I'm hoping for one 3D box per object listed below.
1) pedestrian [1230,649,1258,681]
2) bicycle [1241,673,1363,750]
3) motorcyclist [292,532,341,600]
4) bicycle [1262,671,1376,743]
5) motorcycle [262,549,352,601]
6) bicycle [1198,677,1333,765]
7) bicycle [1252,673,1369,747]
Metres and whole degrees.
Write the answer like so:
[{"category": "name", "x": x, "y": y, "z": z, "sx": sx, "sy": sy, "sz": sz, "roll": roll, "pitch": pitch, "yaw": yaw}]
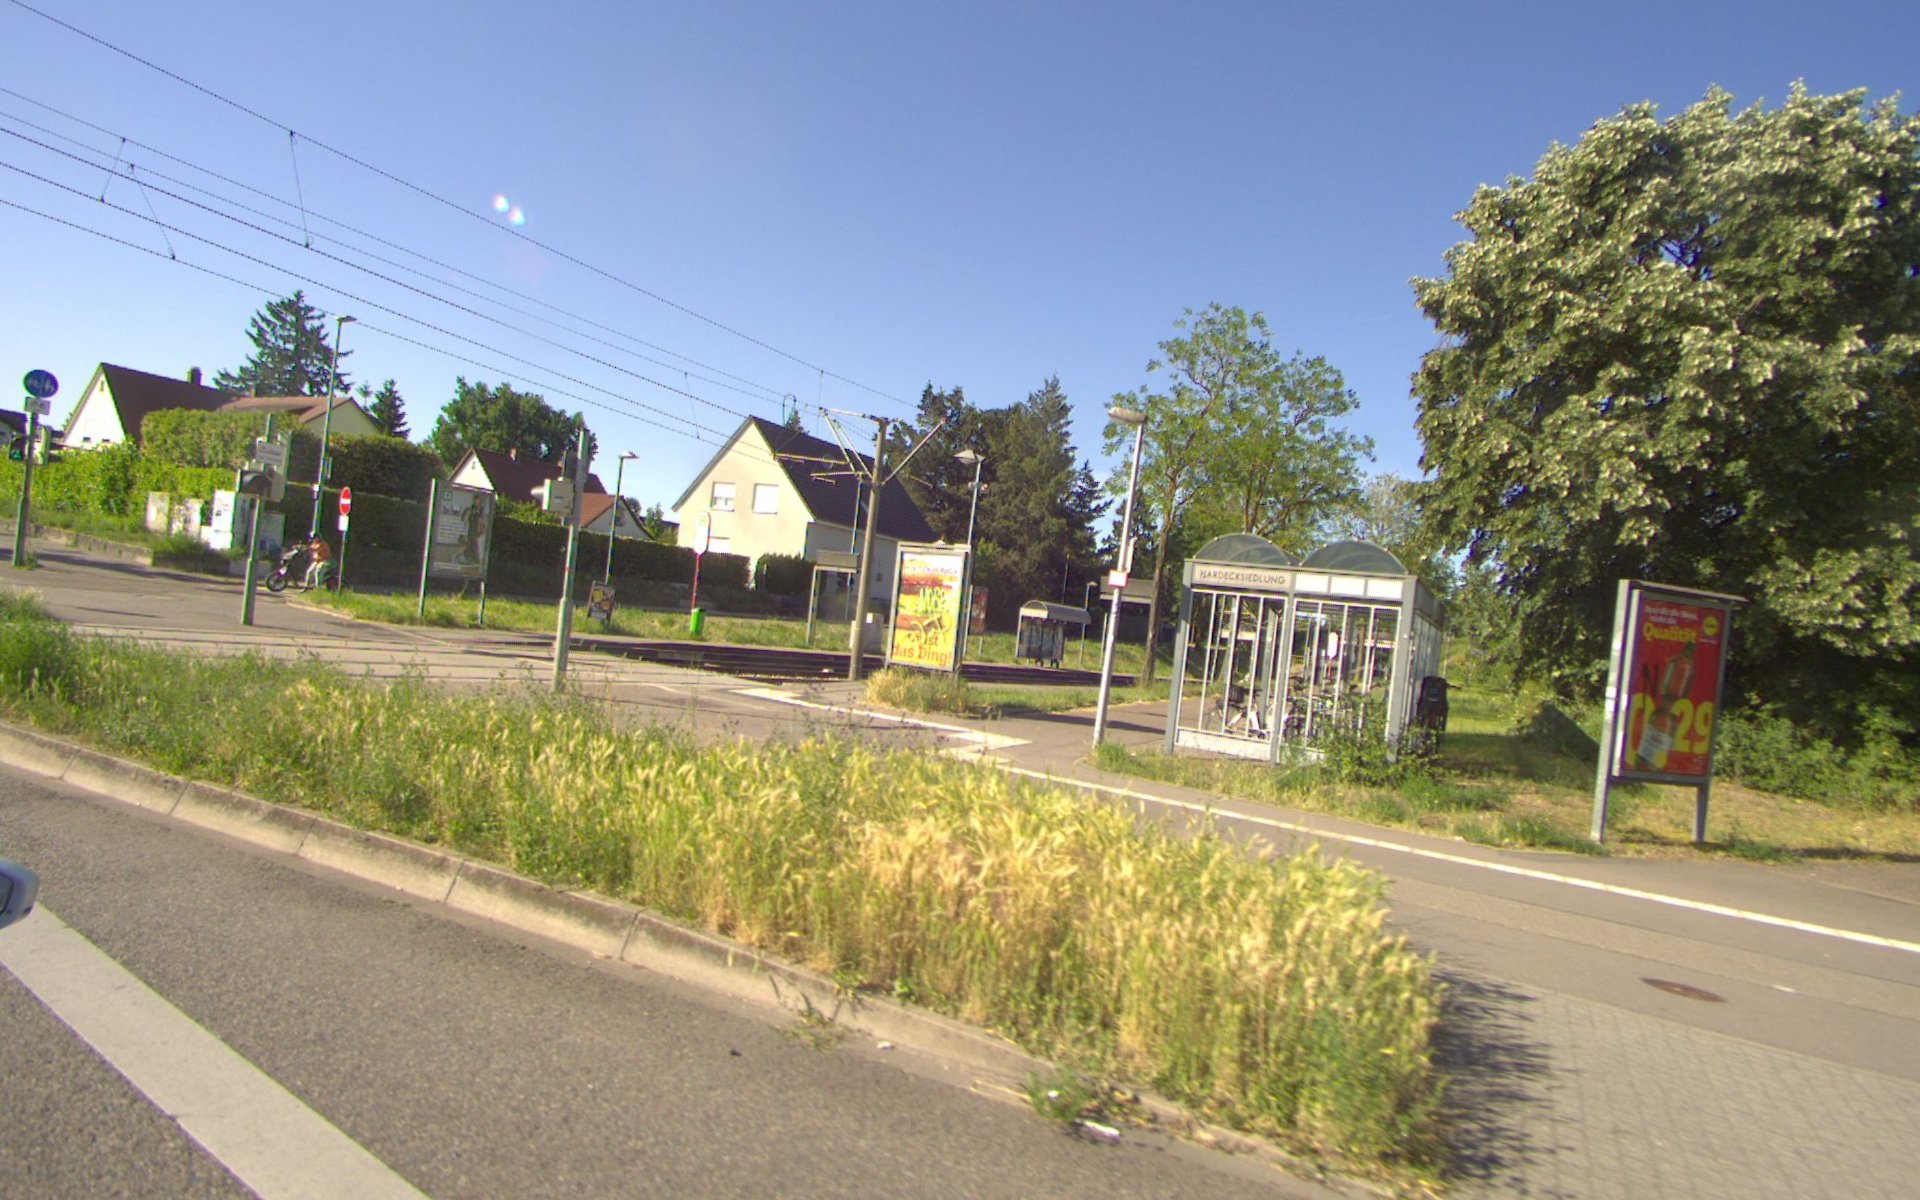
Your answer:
[{"category": "pedestrian", "x": 11.892, "y": 2.716, "z": 42.121, "sx": 0.926, "sy": 1.257, "sz": 0.560, "roll": 4, "pitch": -2, "yaw": 33}, {"category": "bicycle", "x": 5.469, "y": 1.764, "z": 16.130, "sx": 1.757, "sy": 1.081, "sz": 0.430, "roll": 2, "pitch": -1, "yaw": 32}, {"category": "motorcyclist", "x": -16.030, "y": -0.852, "z": 25.070, "sx": 0.689, "sy": 1.577, "sz": 0.693, "roll": 7, "pitch": 1, "yaw": 36}, {"category": "bicycle", "x": 6.132, "y": 1.807, "z": 17.233, "sx": 1.757, "sy": 1.081, "sz": 0.430, "roll": 2, "pitch": -1, "yaw": 32}, {"category": "motorcycle", "x": -16.104, "y": -0.613, "z": 24.839, "sx": 0.444, "sy": 1.084, "sz": 1.756, "roll": 7, "pitch": 0, "yaw": 36}, {"category": "bicycle", "x": 4.332, "y": 1.692, "z": 14.345, "sx": 1.757, "sy": 1.081, "sz": 0.430, "roll": 2, "pitch": -1, "yaw": 32}, {"category": "bicycle", "x": 5.834, "y": 1.815, "z": 16.803, "sx": 1.757, "sy": 1.081, "sz": 0.430, "roll": 2, "pitch": -1, "yaw": 32}]
